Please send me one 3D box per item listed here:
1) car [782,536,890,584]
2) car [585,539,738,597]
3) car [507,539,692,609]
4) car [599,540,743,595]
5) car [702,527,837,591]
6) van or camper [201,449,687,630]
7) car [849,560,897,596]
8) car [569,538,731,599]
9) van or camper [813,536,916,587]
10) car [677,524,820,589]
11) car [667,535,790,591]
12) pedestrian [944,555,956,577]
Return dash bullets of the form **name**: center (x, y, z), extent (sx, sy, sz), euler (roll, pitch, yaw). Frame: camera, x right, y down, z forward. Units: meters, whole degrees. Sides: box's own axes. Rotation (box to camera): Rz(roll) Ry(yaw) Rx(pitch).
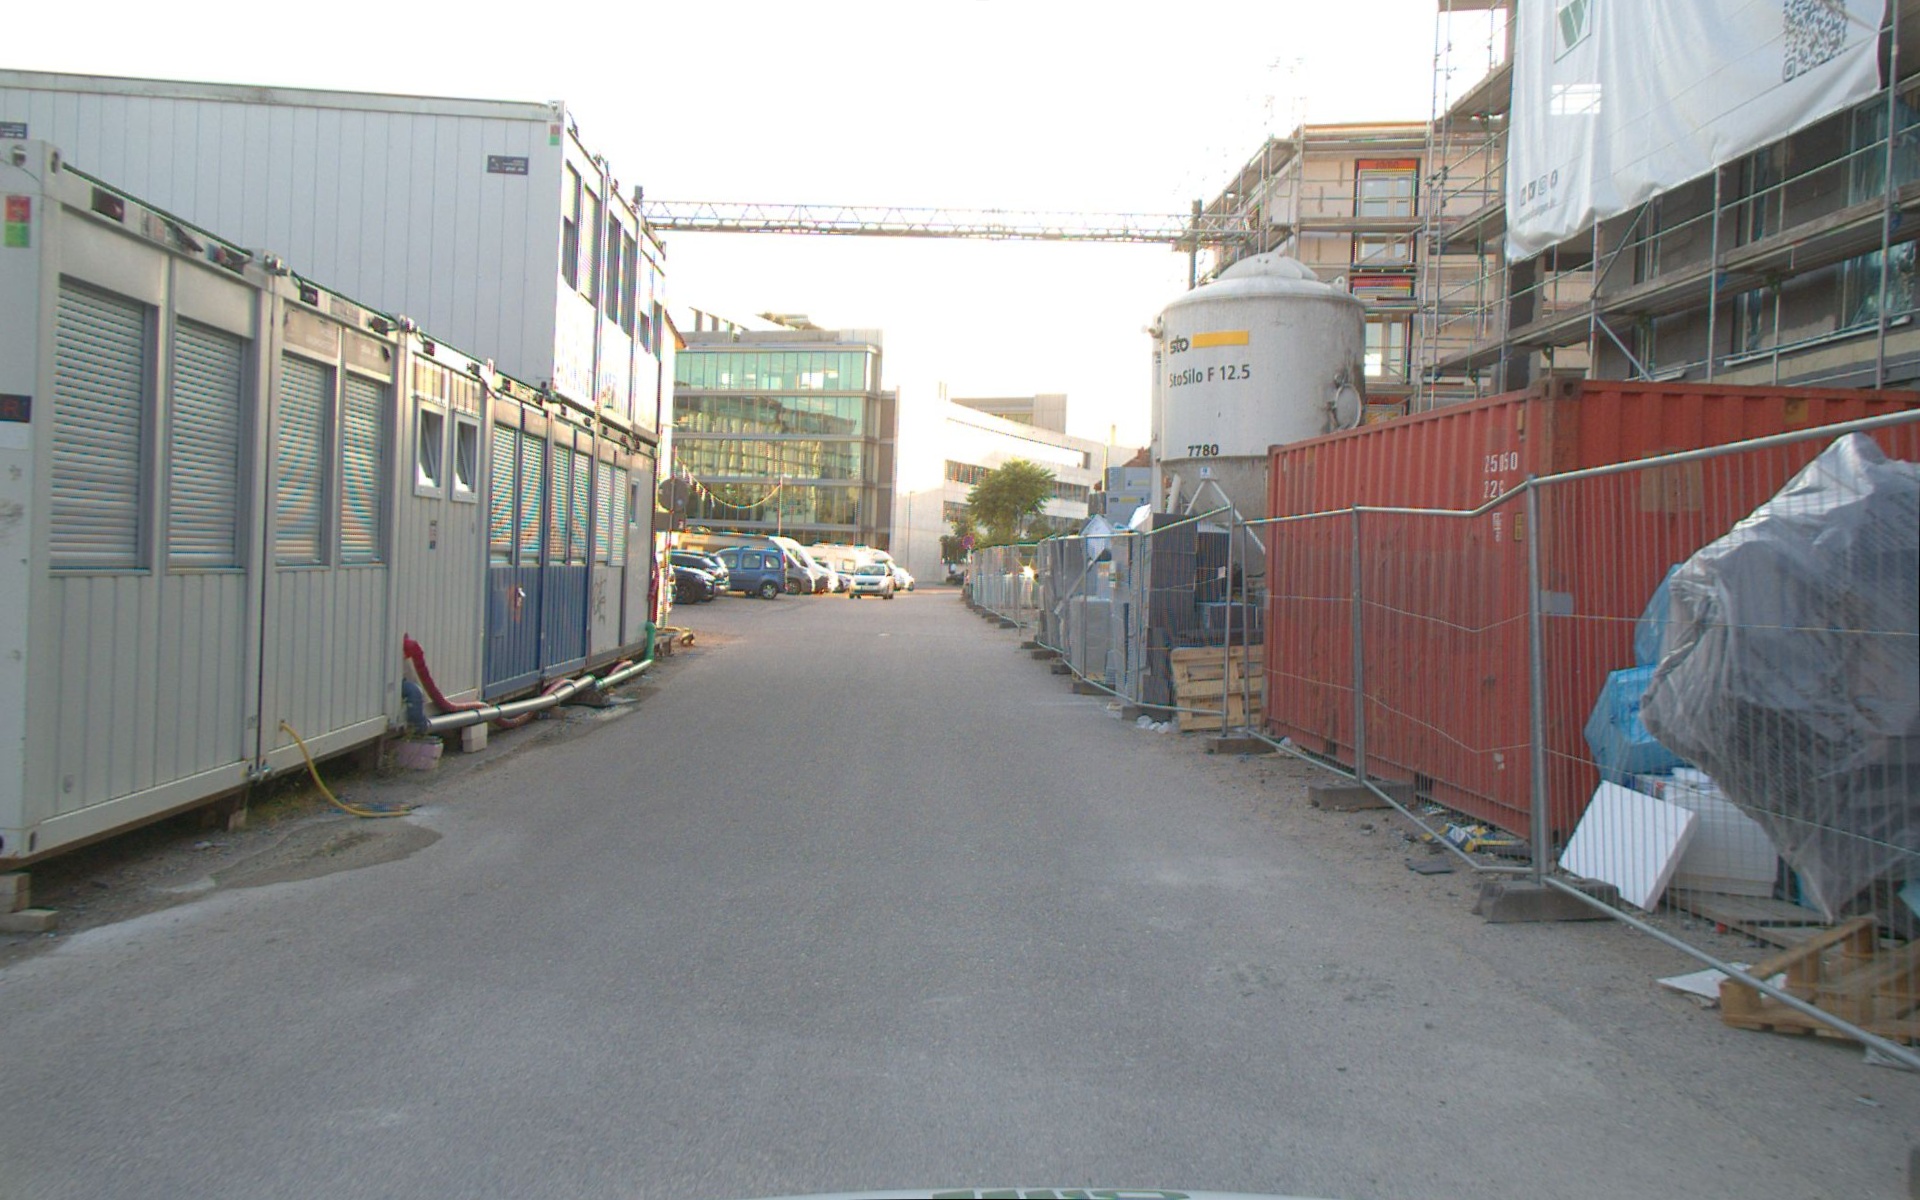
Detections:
- **car**: center (-7.088, -2.269, 94.660), extent (5.797, 2.533, 2.002), euler (2, 1, 9)
- **car**: center (-9.544, -1.041, 53.094), extent (4.408, 1.676, 2.002), euler (2, 1, 7)
- **car**: center (-9.643, -0.709, 44.431), extent (4.408, 1.676, 2.002), euler (2, 1, 7)
- **car**: center (-9.829, -1.109, 56.513), extent (4.408, 1.676, 2.002), euler (2, 1, 7)
- **car**: center (-9.061, -1.964, 79.121), extent (6.200, 2.788, 2.000), euler (2, 1, -2)
- **van or camper**: center (-9.895, -1.159, 32.350), extent (8.586, 3.102, 2.595), euler (2, 1, 0)
- **car**: center (-3.896, -1.001, 74.410), extent (1.630, 1.555, 3.913), euler (2, 1, 4)
- **car**: center (-9.407, -0.971, 50.421), extent (4.408, 1.676, 2.002), euler (2, 1, 7)
- **van or camper**: center (-6.252, -2.512, 108.532), extent (6.198, 3.030, 2.295), euler (3, 1, 10)
- **car**: center (-9.606, -1.982, 75.406), extent (6.200, 2.697, 2.000), euler (2, 1, -2)
- **car**: center (-8.576, -1.361, 61.556), extent (4.419, 1.901, 1.997), euler (2, 1, -8)
- **pedestrian**: center (-0.852, -2.859, 139.846), extent (0.748, 1.848, 0.845), euler (2, 1, 22)
